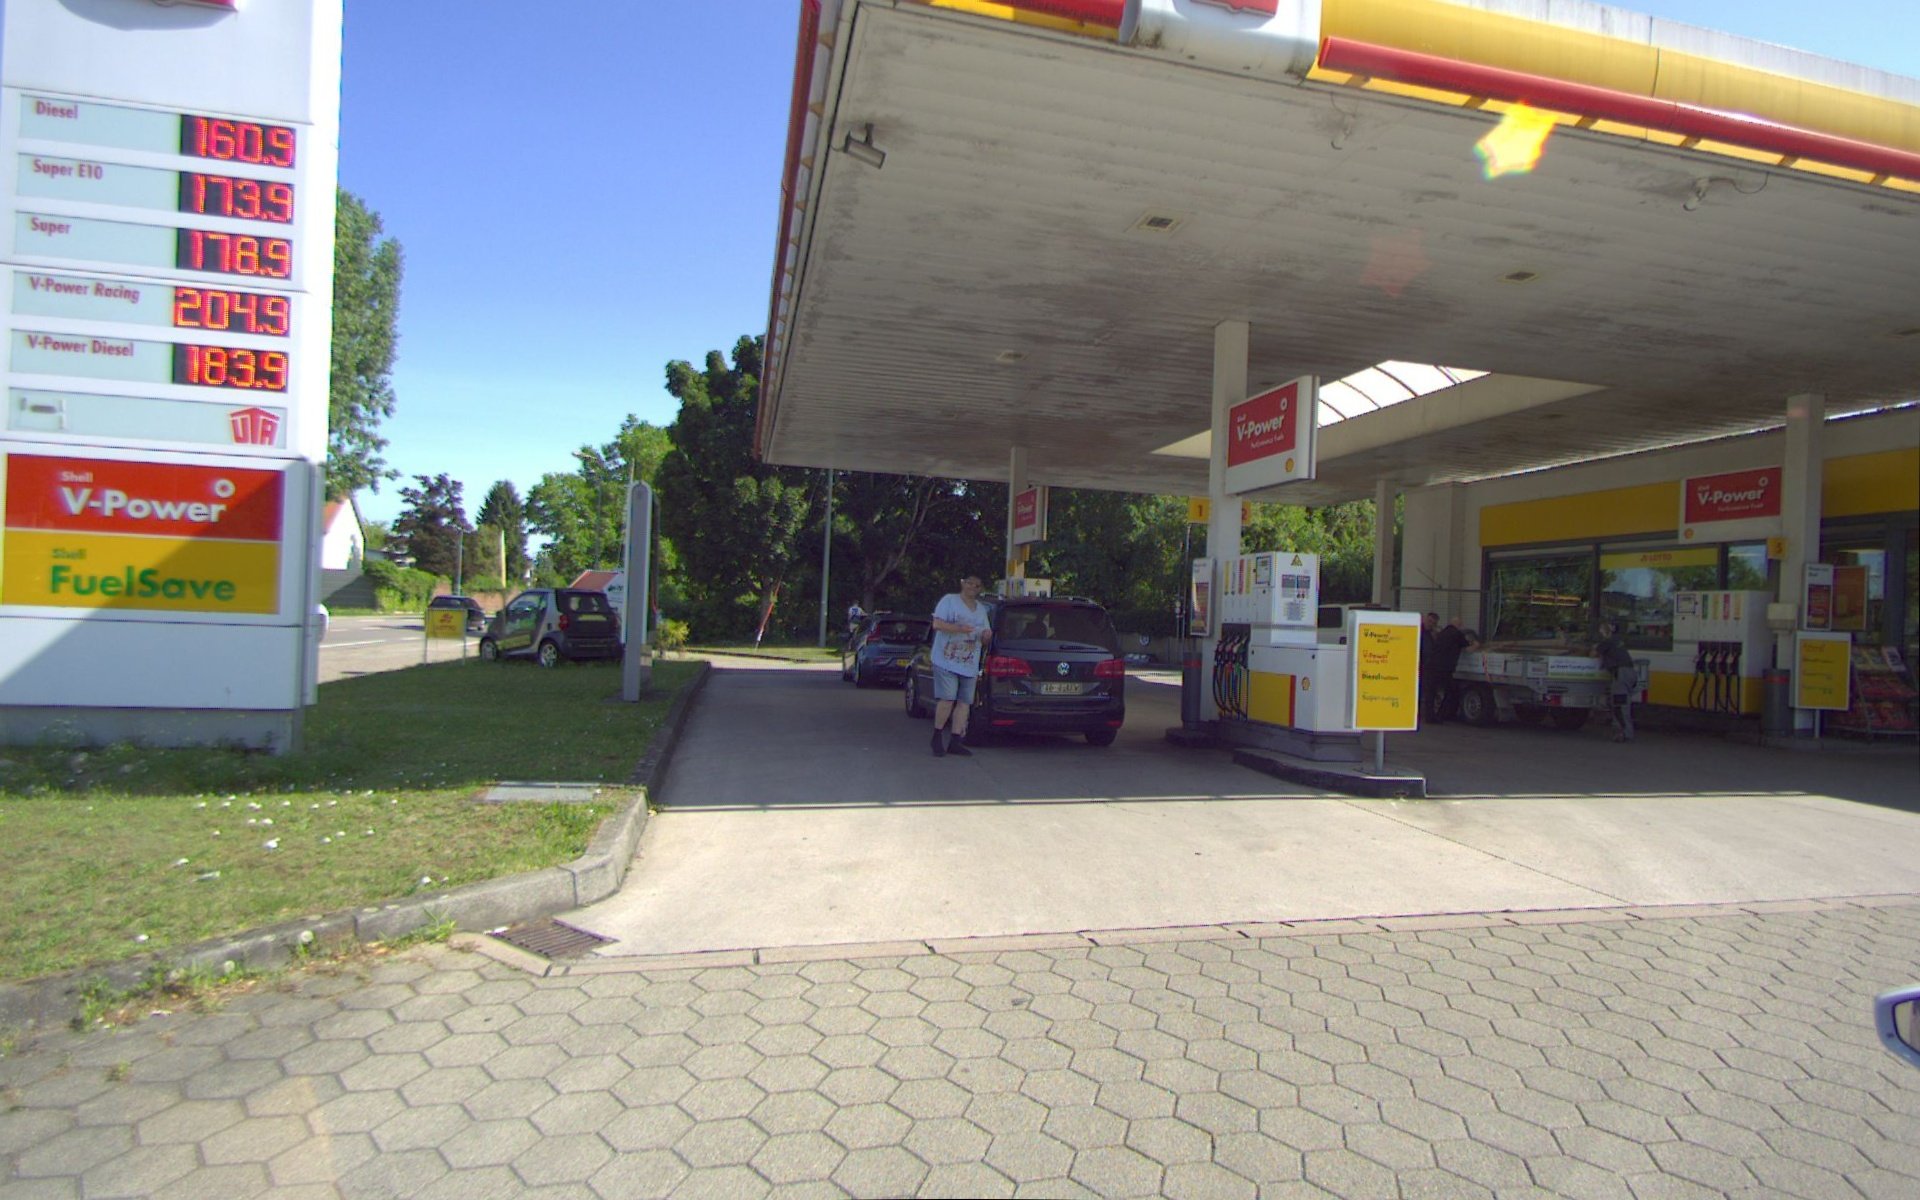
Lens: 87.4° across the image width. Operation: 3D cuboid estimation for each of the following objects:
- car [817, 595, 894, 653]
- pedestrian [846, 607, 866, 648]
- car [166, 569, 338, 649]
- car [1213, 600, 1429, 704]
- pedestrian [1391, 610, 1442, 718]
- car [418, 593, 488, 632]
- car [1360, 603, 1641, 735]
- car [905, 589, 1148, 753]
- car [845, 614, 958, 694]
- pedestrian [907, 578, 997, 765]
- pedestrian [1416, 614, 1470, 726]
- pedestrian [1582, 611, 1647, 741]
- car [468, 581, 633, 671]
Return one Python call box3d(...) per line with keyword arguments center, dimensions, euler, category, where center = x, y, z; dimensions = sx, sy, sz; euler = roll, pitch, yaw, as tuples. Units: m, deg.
box3d(center=(-3.748, 0.837, 35.414), dimensions=(1.968, 1.788, 3.987), euler=(5, -2, -15), category="car")
box3d(center=(-3.970, 1.048, 38.311), dimensions=(0.665, 1.557, 0.393), euler=(2, -1, -9), category="pedestrian")
box3d(center=(-17.023, 0.233, 24.432), dimensions=(1.783, 1.670, 4.297), euler=(4, -2, -13), category="car")
box3d(center=(7.277, 0.995, 20.849), dimensions=(1.826, 1.862, 4.767), euler=(3, -1, -14), category="car")
box3d(center=(7.146, 0.993, 15.731), dimensions=(0.492, 1.653, 0.475), euler=(2, -1, -9), category="pedestrian")
box3d(center=(-21.276, 0.512, 42.287), dimensions=(1.624, 1.449, 4.044), euler=(5, -1, -13), category="car")
box3d(center=(8.194, 1.001, 15.698), dimensions=(1.800, 1.750, 3.994), euler=(2, -2, -9), category="car")
box3d(center=(0.595, 0.756, 11.975), dimensions=(1.736, 1.599, 3.866), euler=(3, -1, -14), category="car")
box3d(center=(-1.259, 1.009, 19.984), dimensions=(1.771, 1.378, 3.841), euler=(3, -1, -10), category="car")
box3d(center=(-0.094, 0.690, 9.926), dimensions=(0.663, 1.752, 0.810), euler=(3, -1, -14), category="pedestrian")
box3d(center=(7.166, 1.030, 14.905), dimensions=(0.492, 1.614, 0.475), euler=(2, -1, -9), category="pedestrian")
box3d(center=(8.776, 1.009, 13.478), dimensions=(0.467, 1.690, 0.500), euler=(2, -1, -12), category="pedestrian")
box3d(center=(-7.879, 0.504, 19.312), dimensions=(2.683, 1.550, 1.575), euler=(2, -3, 31), category="car")
